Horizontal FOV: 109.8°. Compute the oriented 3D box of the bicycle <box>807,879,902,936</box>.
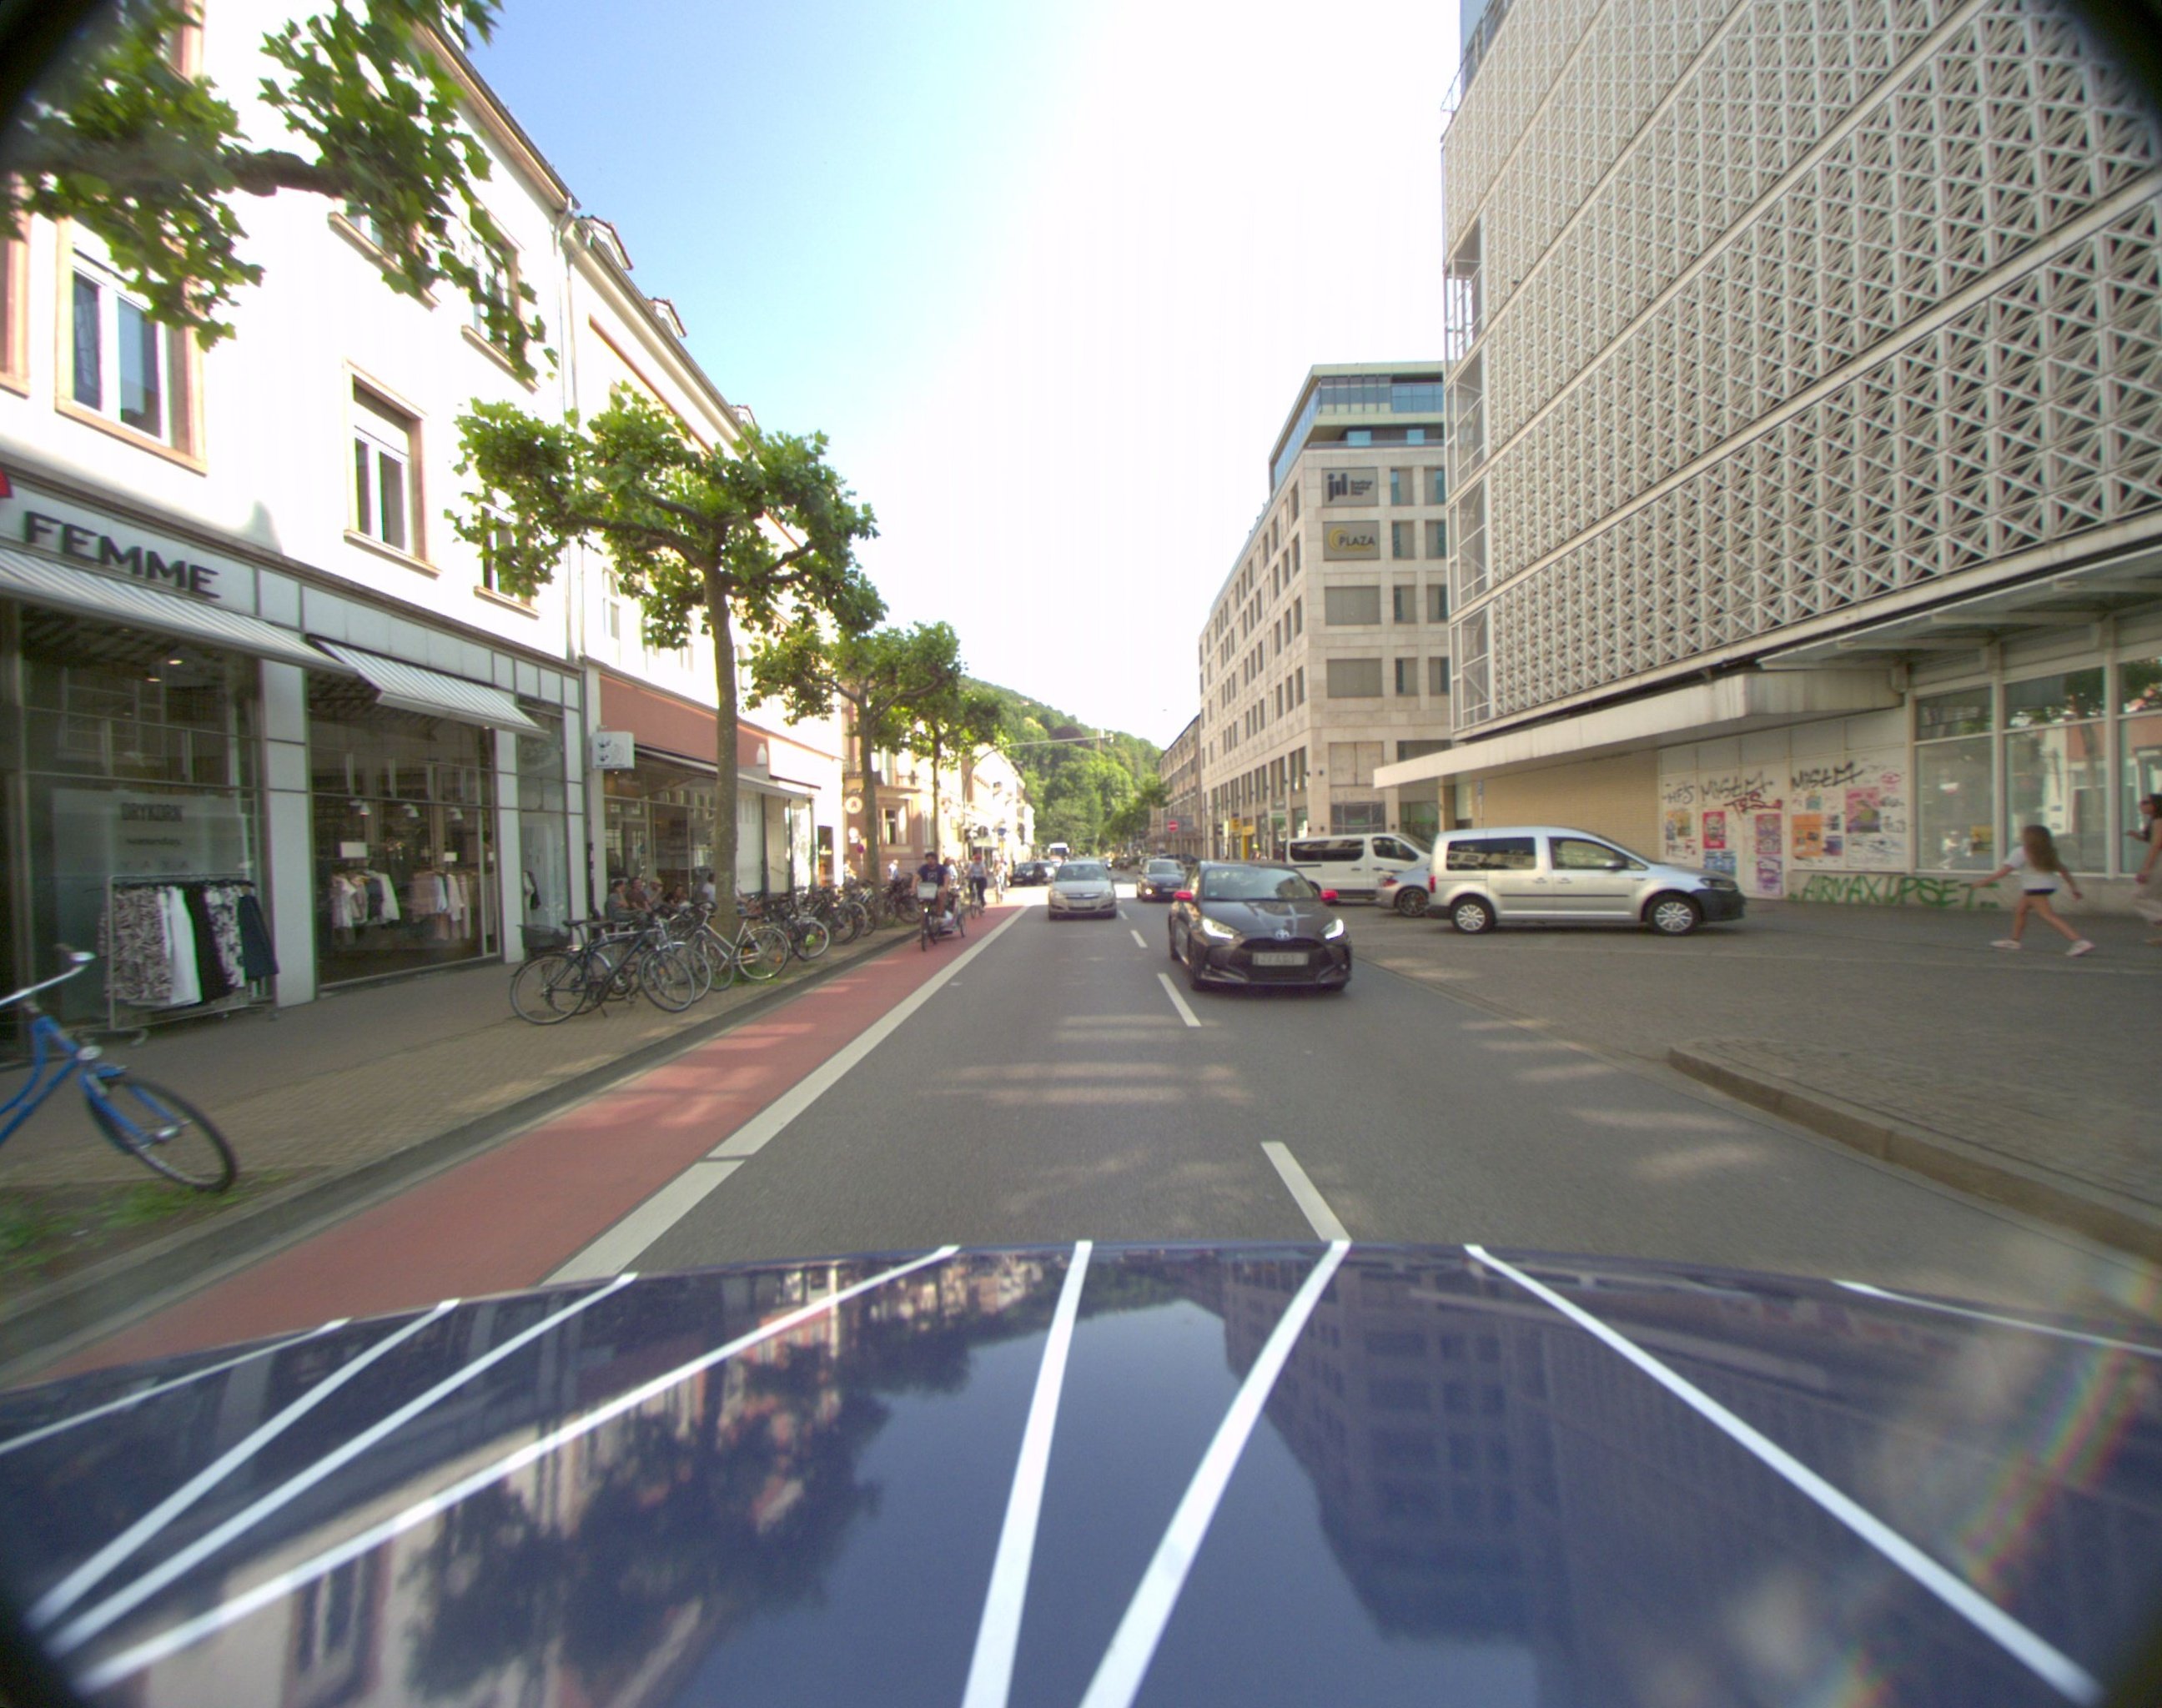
[{"bbox_3d":[-4.962,1.165,16.711,1.844,1.120,0.679,-2,2,2],"label":"bicycle"}]

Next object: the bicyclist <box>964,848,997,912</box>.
[{"bbox_3d":[-2.802,0.705,21.178,0.684,1.707,0.844,-3,1,2],"label":"bicyclist"}]

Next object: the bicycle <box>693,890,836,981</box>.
[{"bbox_3d":[-4.678,1.169,11.303,1.849,1.120,0.592,-3,2,-35],"label":"bicycle"}]

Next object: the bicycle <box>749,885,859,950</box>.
[{"bbox_3d":[-5.128,1.167,14.097,1.844,1.120,0.448,-1,2,3],"label":"bicycle"}]

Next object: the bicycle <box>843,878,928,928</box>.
[{"bbox_3d":[-4.620,1.157,18.028,1.844,1.120,0.530,-1,2,2],"label":"bicycle"}]

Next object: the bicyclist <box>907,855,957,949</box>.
[{"bbox_3d":[-2.718,0.853,13.916,0.732,1.664,0.774,-1,1,0],"label":"bicyclist"}]

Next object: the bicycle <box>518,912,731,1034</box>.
[{"bbox_3d":[-4.885,1.254,8.237,1.846,1.087,0.564,-3,1,-10],"label":"bicycle"}]

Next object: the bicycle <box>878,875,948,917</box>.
[{"bbox_3d":[-4.874,1.214,22.161,1.844,1.120,0.666,-1,2,2],"label":"bicycle"}]

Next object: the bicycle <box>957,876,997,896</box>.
[{"bbox_3d":[-4.976,1.526,36.302,1.826,0.839,0.501,-2,1,1],"label":"bicycle"}]

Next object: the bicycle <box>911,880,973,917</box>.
[{"bbox_3d":[-4.574,1.456,25.043,1.855,0.396,1.014,-9,35,5],"label":"bicycle"}]

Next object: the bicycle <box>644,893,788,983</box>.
[{"bbox_3d":[-5.425,1.216,11.363,1.849,1.120,0.447,-3,2,-36],"label":"bicycle"}]

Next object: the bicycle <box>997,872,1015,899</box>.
[{"bbox_3d":[-3.457,1.443,35.256,0.607,1.121,1.859,0,3,2],"label":"bicycle"}]

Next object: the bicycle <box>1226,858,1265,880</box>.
[{"bbox_3d":[8.943,0.830,41.282,1.990,1.120,0.799,-2,0,7],"label":"bicycle"}]

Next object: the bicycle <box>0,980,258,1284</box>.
[{"bbox_3d":[-4.870,1.221,3.282,1.845,1.120,0.497,-4,0,-7],"label":"bicycle"}]

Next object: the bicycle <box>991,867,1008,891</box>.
[{"bbox_3d":[-4.254,1.292,39.556,0.749,1.111,1.916,-3,1,-9],"label":"bicycle"}]

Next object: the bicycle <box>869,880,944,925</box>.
[{"bbox_3d":[-4.709,1.301,20.586,1.844,1.120,0.643,-1,2,2],"label":"bicycle"}]

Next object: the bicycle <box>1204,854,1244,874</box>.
[{"bbox_3d":[8.879,0.645,47.277,2.324,1.120,0.563,-4,1,25],"label":"bicycle"}]

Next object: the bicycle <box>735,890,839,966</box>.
[{"bbox_3d":[-4.787,1.177,12.334,1.841,1.120,0.449,-1,2,28],"label":"bicycle"}]

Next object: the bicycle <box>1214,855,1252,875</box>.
[{"bbox_3d":[8.955,0.650,44.771,2.059,1.120,0.648,-2,0,27],"label":"bicycle"}]

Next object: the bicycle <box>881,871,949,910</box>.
[{"bbox_3d":[-5.017,1.105,22.984,1.843,1.120,0.667,-1,2,8],"label":"bicycle"}]

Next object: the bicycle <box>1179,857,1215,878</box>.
[{"bbox_3d":[6.699,0.769,44.112,0.606,1.166,2.059,-4,2,-45],"label":"bicycle"}]

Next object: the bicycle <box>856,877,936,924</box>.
[{"bbox_3d":[-4.741,1.190,19.536,1.844,1.120,0.666,-1,2,2],"label":"bicycle"}]

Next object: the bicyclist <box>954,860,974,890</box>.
[{"bbox_3d":[-5.584,0.997,36.211,0.861,1.403,0.501,-1,1,1],"label":"bicyclist"}]

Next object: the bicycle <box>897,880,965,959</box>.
[{"bbox_3d":[-2.706,1.148,13.978,0.734,1.261,2.282,-3,-1,1],"label":"bicycle"}]

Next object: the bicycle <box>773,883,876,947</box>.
[{"bbox_3d":[-5.020,1.196,14.897,1.843,1.120,0.530,-3,1,13],"label":"bicycle"}]

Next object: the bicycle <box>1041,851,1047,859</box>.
[{"bbox_3d":[-5.275,0.103,108.782,0.743,1.120,2.573,0,1,2],"label":"bicycle"}]

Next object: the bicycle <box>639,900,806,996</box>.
[{"bbox_3d":[-4.664,1.218,9.949,1.844,1.087,0.564,-3,1,1],"label":"bicycle"}]

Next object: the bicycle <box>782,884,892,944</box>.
[{"bbox_3d":[-4.999,1.221,15.612,1.989,1.120,0.762,-1,2,13],"label":"bicycle"}]

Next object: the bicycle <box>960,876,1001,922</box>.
[{"bbox_3d":[-2.766,1.228,21.192,0.737,1.120,2.034,-2,1,3],"label":"bicycle"}]

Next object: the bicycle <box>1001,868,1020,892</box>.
[{"bbox_3d":[-3.475,1.259,37.388,0.664,1.111,1.992,-1,0,2],"label":"bicycle"}]

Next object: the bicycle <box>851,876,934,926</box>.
[{"bbox_3d":[-4.622,1.150,18.722,1.844,1.120,0.666,-1,2,2],"label":"bicycle"}]

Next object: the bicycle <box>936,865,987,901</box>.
[{"bbox_3d":[-4.392,1.069,27.767,1.852,1.181,0.718,-6,-3,38],"label":"bicycle"}]

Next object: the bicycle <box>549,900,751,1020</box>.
[{"bbox_3d":[-5.020,1.211,8.980,1.846,1.121,0.764,-4,2,-12],"label":"bicycle"}]

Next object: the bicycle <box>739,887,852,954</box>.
[{"bbox_3d":[-5.113,1.195,13.638,1.844,1.120,0.448,-1,2,3],"label":"bicycle"}]

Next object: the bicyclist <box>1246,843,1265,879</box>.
[{"bbox_3d":[9.446,0.370,41.061,0.843,1.948,1.017,-1,1,6],"label":"bicyclist"}]

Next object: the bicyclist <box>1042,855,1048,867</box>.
[{"bbox_3d":[-5.235,1.001,109.419,0.747,1.693,1.036,-1,1,1],"label":"bicyclist"}]

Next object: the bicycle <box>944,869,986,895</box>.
[{"bbox_3d":[-5.541,1.354,36.354,1.844,1.120,0.666,-3,1,4],"label":"bicycle"}]

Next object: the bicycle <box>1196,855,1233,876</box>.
[{"bbox_3d":[8.205,0.711,46.737,2.060,1.120,0.563,-4,0,25],"label":"bicycle"}]

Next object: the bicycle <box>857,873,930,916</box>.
[{"bbox_3d":[-5.211,1.129,21.192,1.844,1.120,0.666,-1,2,2],"label":"bicycle"}]

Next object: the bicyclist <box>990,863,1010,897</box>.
[{"bbox_3d":[-4.180,1.362,39.415,0.910,1.707,0.844,-1,1,1],"label":"bicyclist"}]

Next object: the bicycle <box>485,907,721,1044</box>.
[{"bbox_3d":[-4.792,1.193,7.736,1.846,1.120,0.632,-4,1,-10],"label":"bicycle"}]
